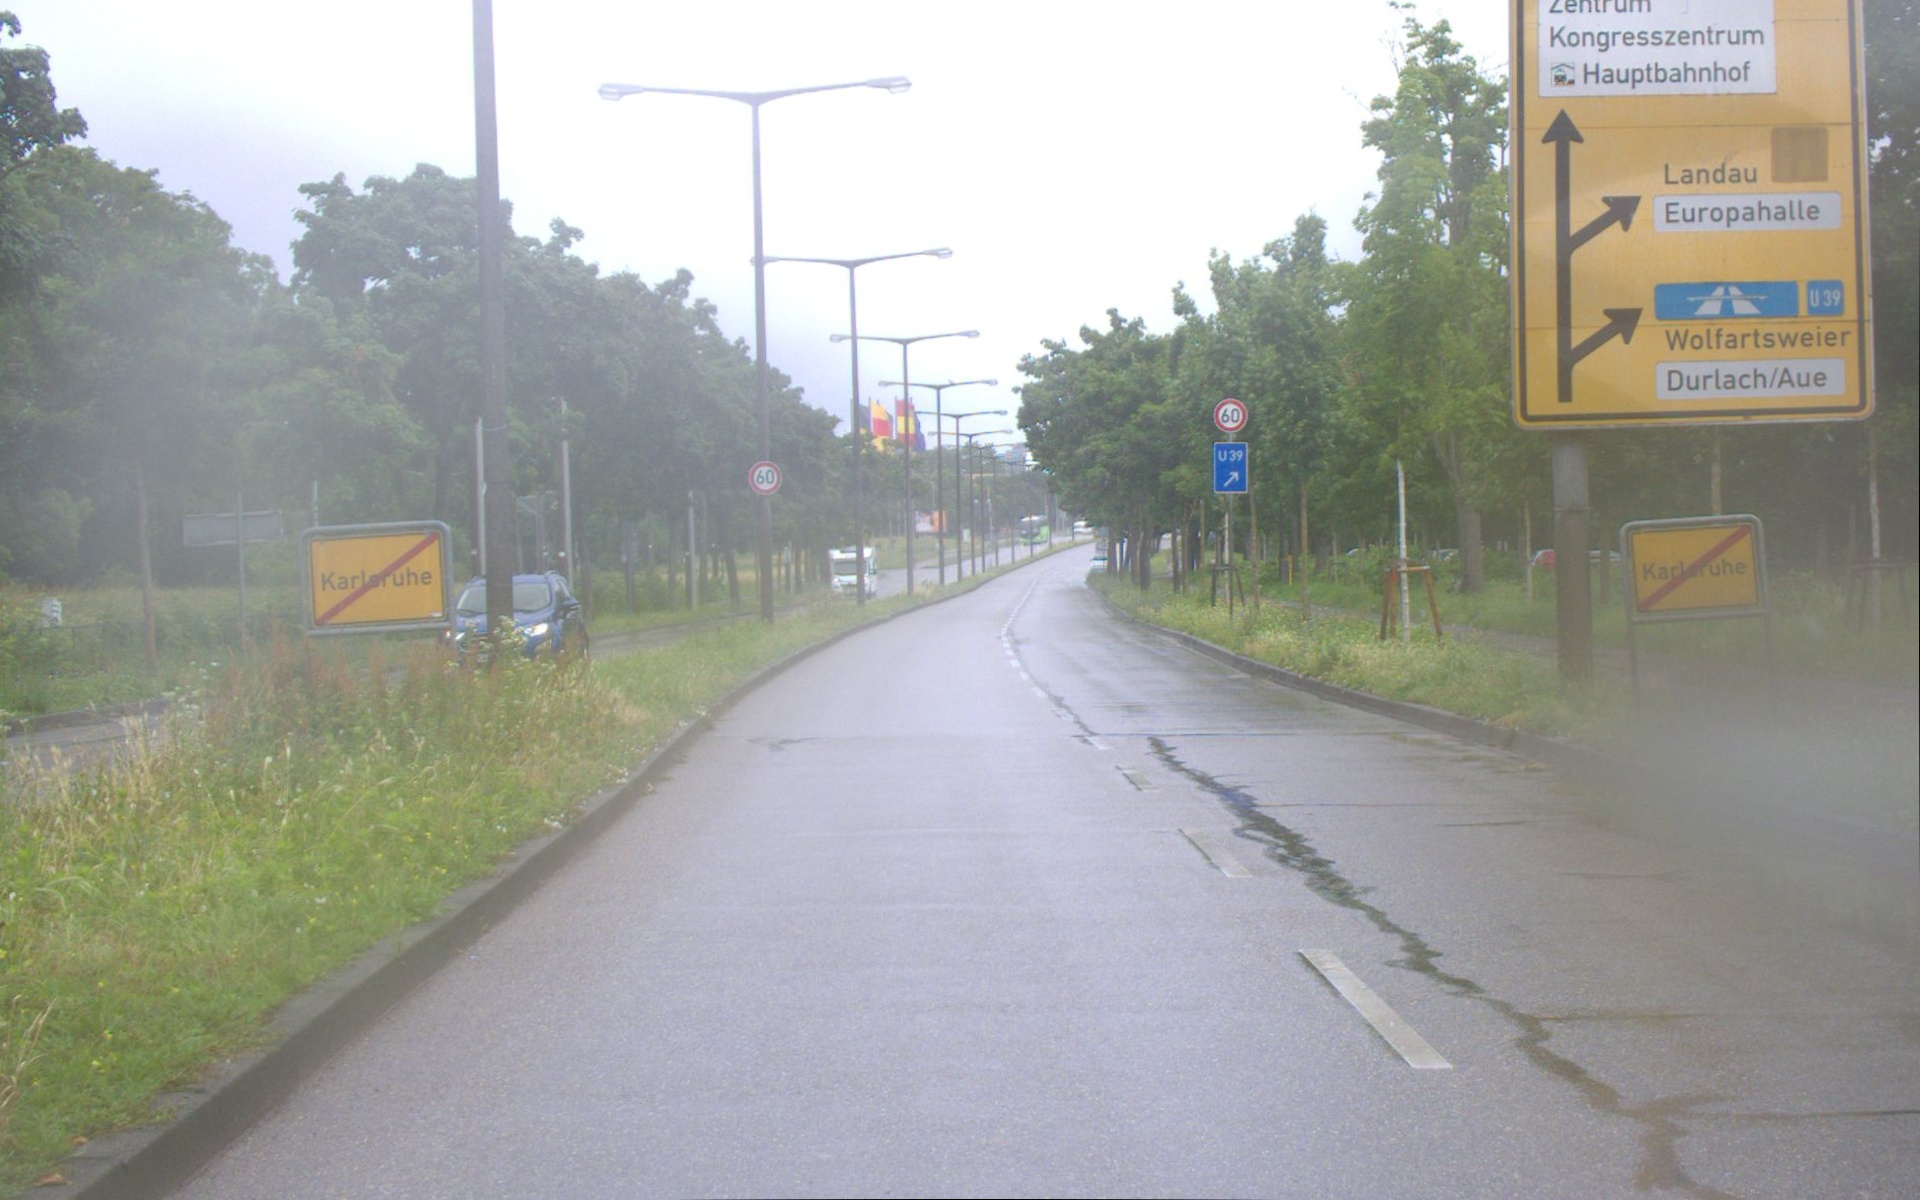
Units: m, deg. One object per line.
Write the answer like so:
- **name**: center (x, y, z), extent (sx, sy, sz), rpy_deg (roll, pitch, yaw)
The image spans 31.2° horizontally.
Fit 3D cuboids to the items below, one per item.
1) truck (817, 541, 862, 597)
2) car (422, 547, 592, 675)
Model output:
- **truck**: center (-6.377, -1.611, 182.414), extent (2.138, 2.834, 5.073), rpy_deg (-3, 0, 0)
- **car**: center (-6.406, 0.118, 48.991), extent (1.743, 1.644, 4.136), rpy_deg (-4, 1, 1)
